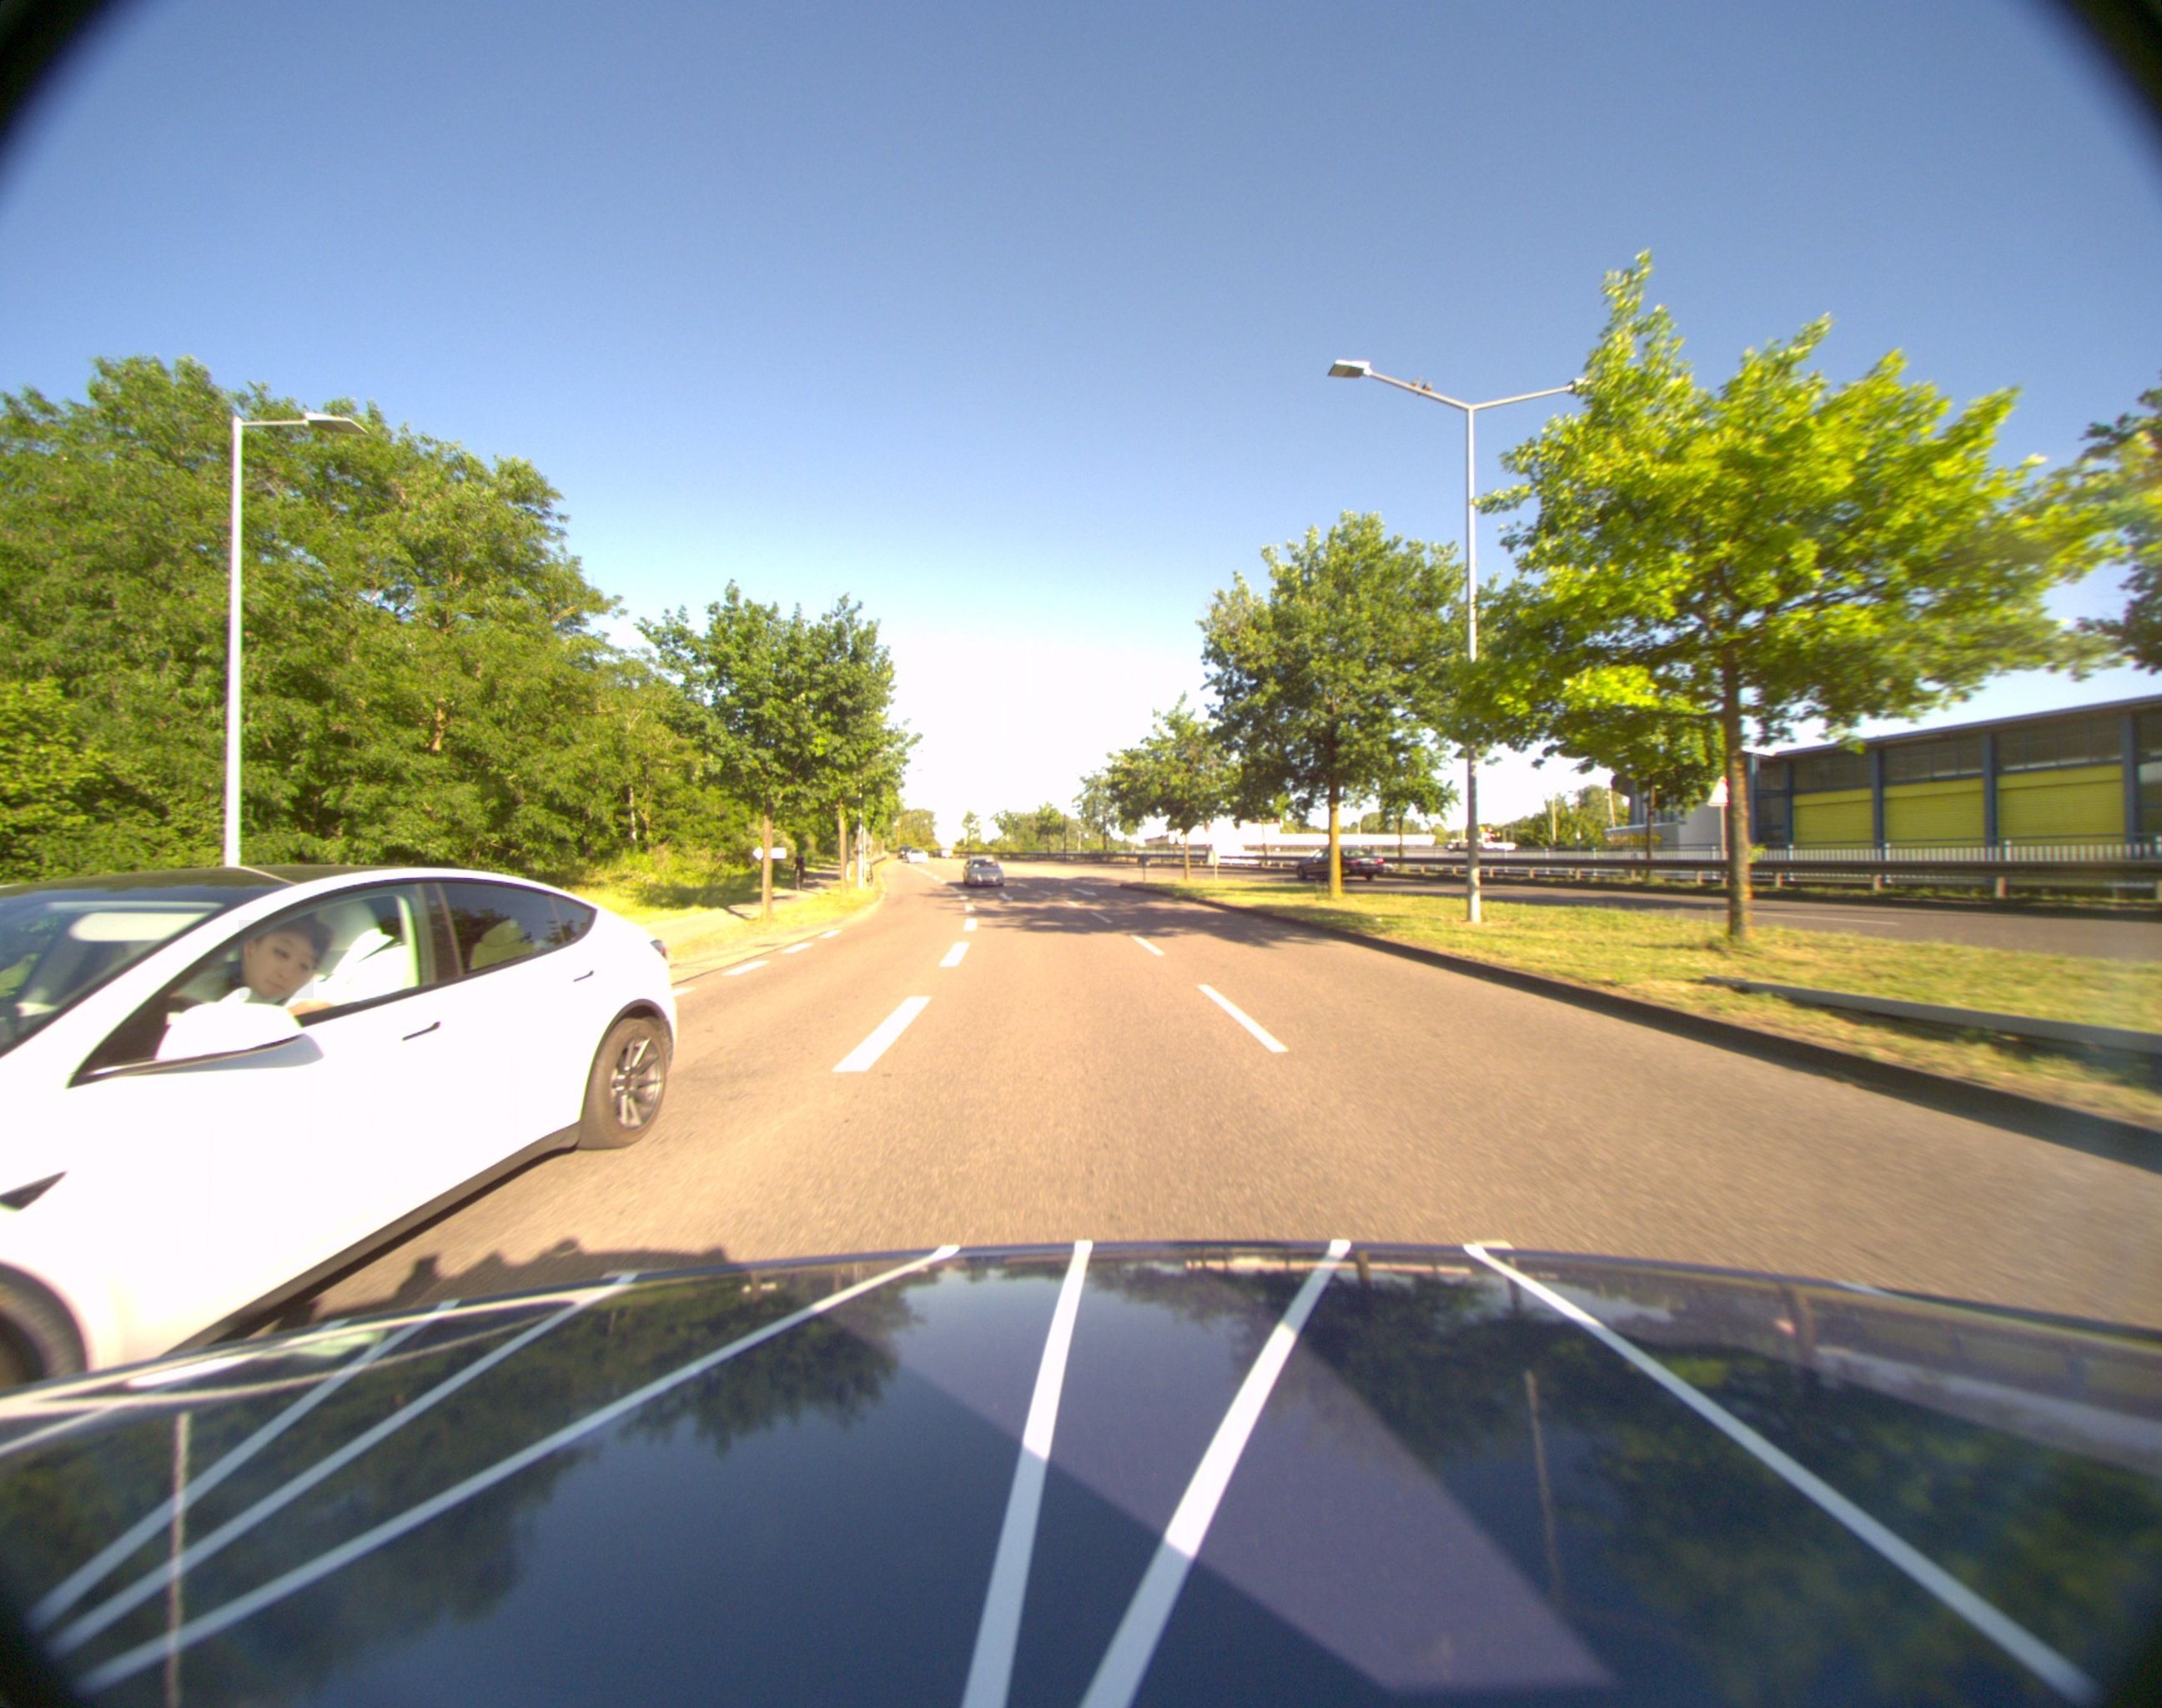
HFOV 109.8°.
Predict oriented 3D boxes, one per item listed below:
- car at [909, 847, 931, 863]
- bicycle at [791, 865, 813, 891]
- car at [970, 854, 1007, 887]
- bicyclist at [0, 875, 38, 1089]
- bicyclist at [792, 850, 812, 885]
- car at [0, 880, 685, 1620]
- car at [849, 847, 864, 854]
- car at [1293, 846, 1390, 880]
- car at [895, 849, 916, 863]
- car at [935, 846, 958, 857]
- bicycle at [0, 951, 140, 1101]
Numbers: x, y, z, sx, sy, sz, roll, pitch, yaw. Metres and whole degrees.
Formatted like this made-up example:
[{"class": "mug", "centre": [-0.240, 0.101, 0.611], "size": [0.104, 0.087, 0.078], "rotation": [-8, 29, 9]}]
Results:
[{"class": "car", "centre": [-17.042, 0.079, 80.434], "size": [2.152, 1.558, 4.193], "rotation": [2, 0, -13]}, {"class": "bicycle", "centre": [-12.569, 1.055, 34.212], "size": [0.703, 1.068, 1.918], "rotation": [1, 0, -14]}, {"class": "car", "centre": [-4.582, 0.787, 38.130], "size": [1.684, 1.433, 3.855], "rotation": [-2, 2, -5]}, {"class": "bicyclist", "centre": [-9.277, 1.062, 6.033], "size": [0.677, 1.766, 0.948], "rotation": [1, 1, -4]}, {"class": "bicyclist", "centre": [-12.573, 0.600, 34.269], "size": [0.710, 1.569, 1.003], "rotation": [1, 1, -14]}, {"class": "car", "centre": [-3.458, 0.980, 2.581], "size": [1.919, 1.631, 4.410], "rotation": [-2, -1, -1]}, {"class": "car", "centre": [-47.207, -0.728, 159.782], "size": [1.771, 1.480, 4.266], "rotation": [-2, 2, -32]}, {"class": "car", "centre": [11.128, 0.345, 32.880], "size": [1.806, 1.302, 4.610], "rotation": [-2, 1, -13]}, {"class": "car", "centre": [-22.116, 0.313, 95.659], "size": [2.002, 1.707, 4.264], "rotation": [-1, 0, -21]}, {"class": "car", "centre": [-17.799, -0.298, 100.456], "size": [1.738, 1.378, 4.485], "rotation": [-2, 1, -28]}, {"class": "bicycle", "centre": [-9.170, 1.468, 6.099], "size": [0.697, 1.089, 2.117], "rotation": [1, 0, -4]}]
